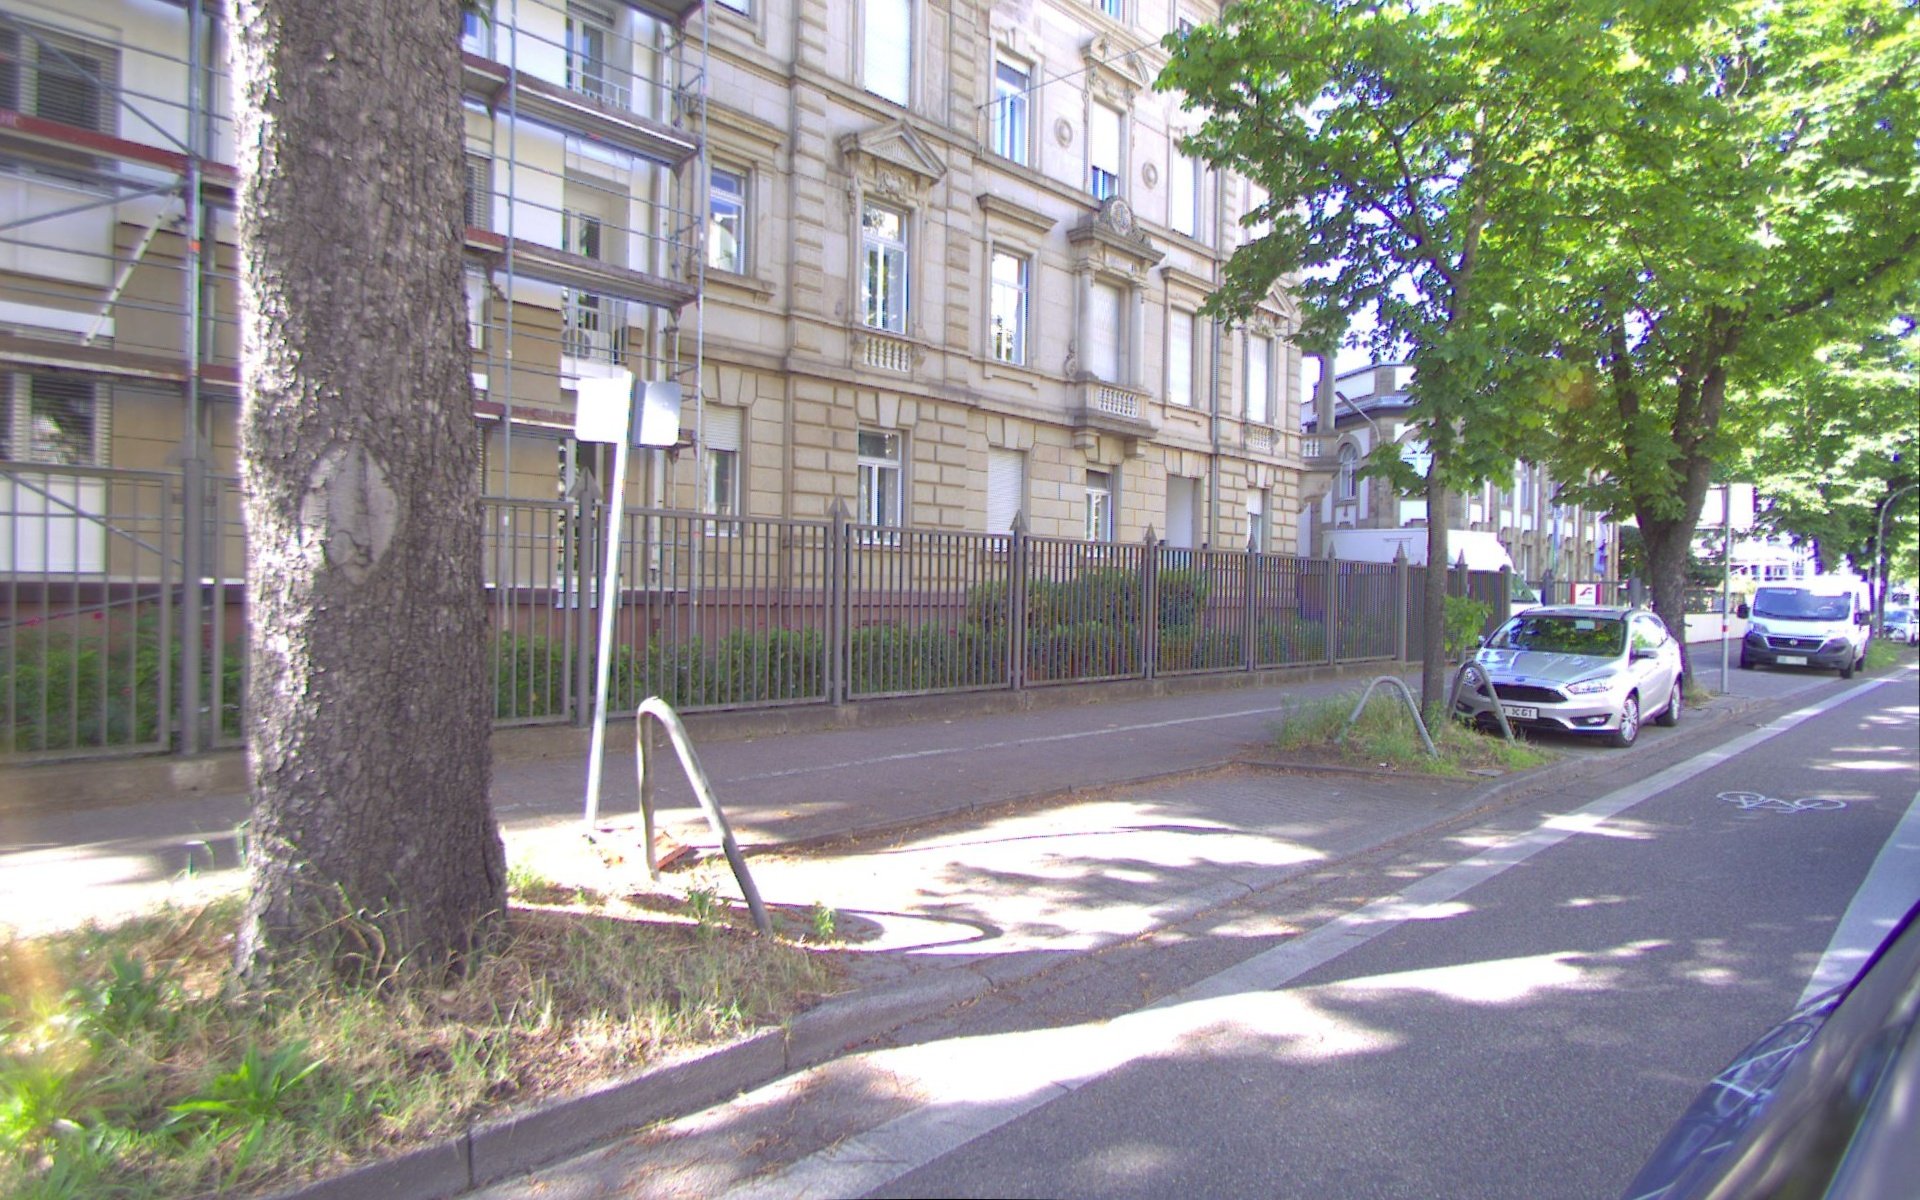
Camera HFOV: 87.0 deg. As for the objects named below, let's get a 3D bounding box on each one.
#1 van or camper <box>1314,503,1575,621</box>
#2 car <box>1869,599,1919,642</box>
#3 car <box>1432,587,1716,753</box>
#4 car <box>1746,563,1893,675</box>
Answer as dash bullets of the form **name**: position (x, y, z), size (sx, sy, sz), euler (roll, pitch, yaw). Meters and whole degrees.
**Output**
- **van or camper**: position (12.251, -0.888, 26.375), size (2.078, 2.660, 6.751), euler (0, 0, -17)
- **car**: position (37.434, 0.777, 40.080), size (4.035, 1.569, 1.863), euler (-1, 1, -44)
- **car**: position (7.514, 0.668, 12.199), size (4.294, 1.562, 1.874), euler (-1, 3, -44)
- **car**: position (20.978, 0.353, 24.596), size (5.710, 2.371, 2.129), euler (-1, 3, -44)
